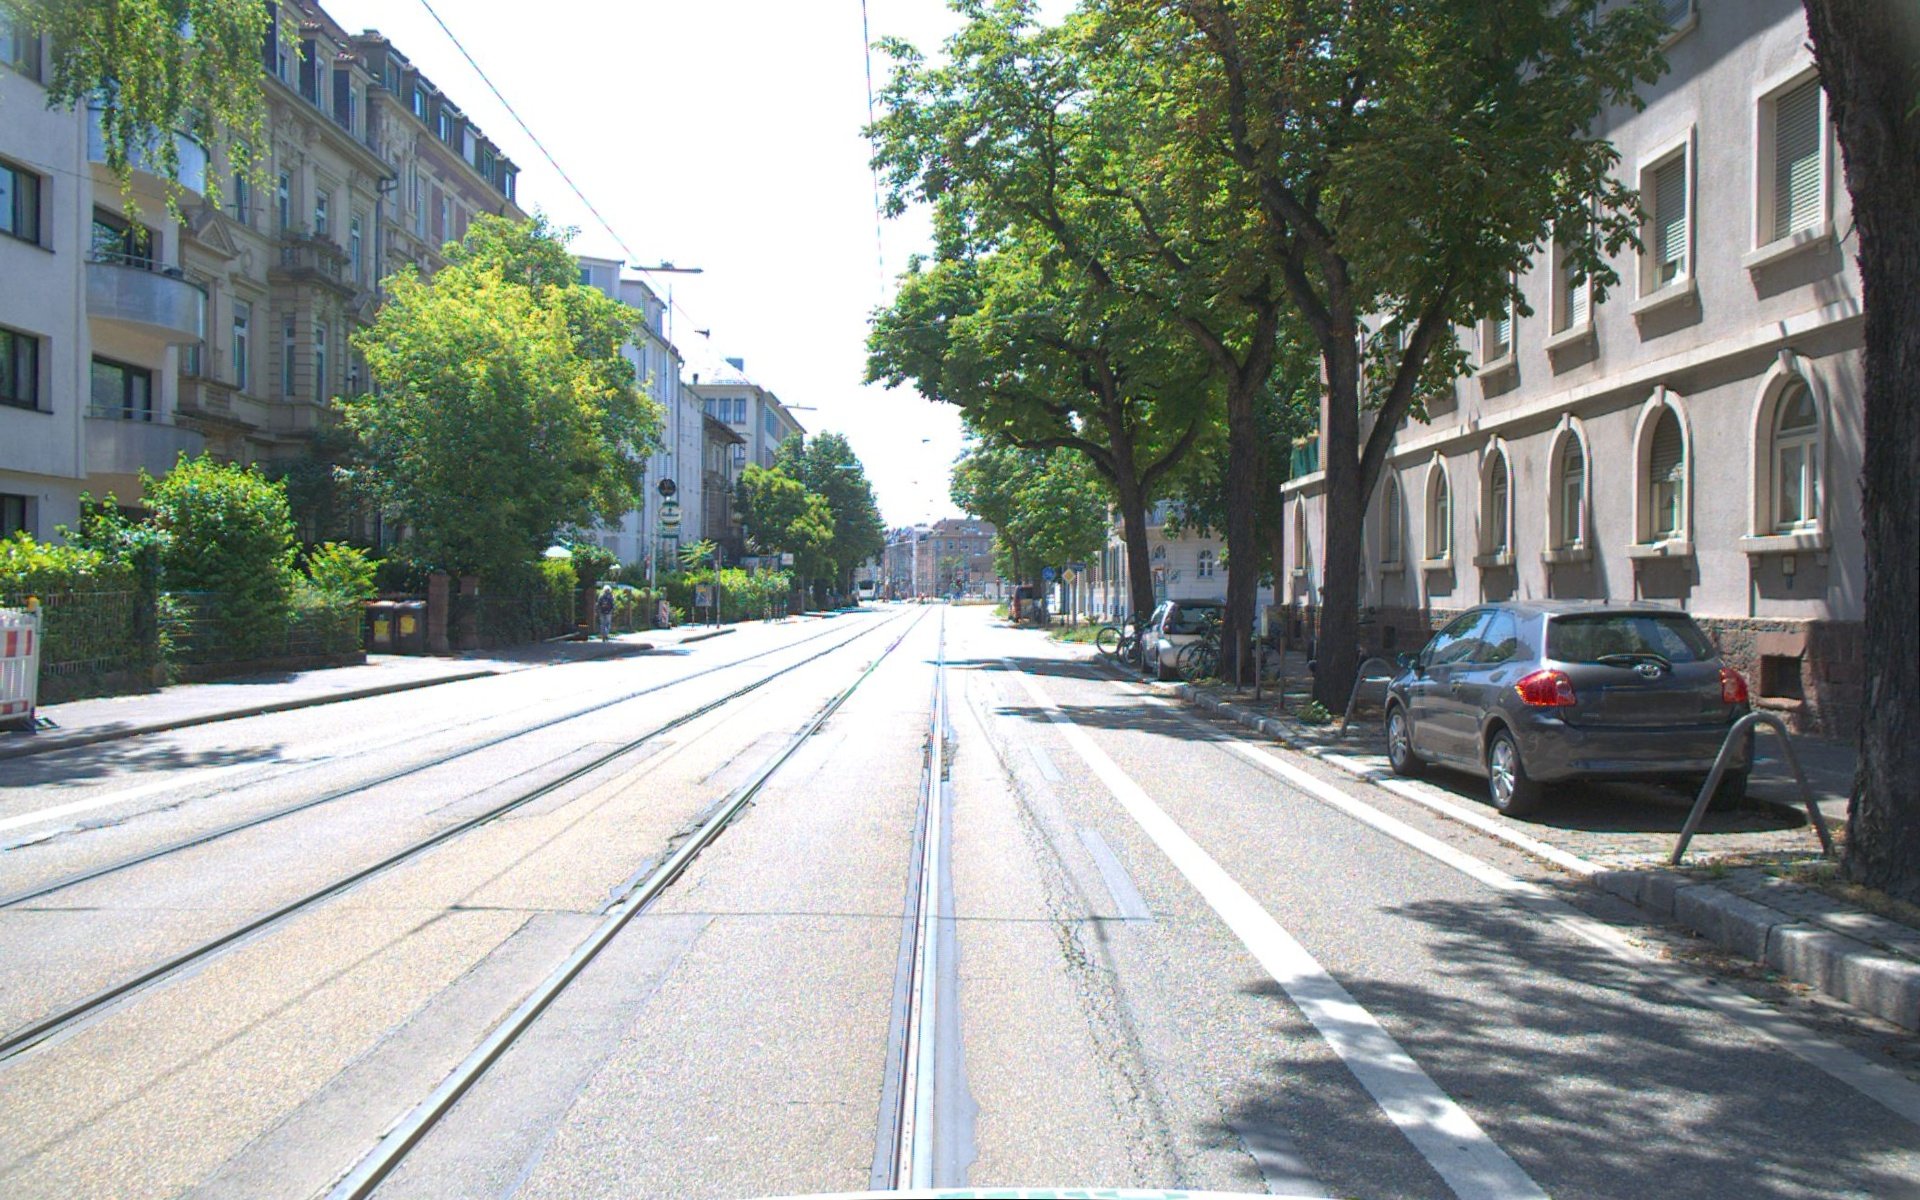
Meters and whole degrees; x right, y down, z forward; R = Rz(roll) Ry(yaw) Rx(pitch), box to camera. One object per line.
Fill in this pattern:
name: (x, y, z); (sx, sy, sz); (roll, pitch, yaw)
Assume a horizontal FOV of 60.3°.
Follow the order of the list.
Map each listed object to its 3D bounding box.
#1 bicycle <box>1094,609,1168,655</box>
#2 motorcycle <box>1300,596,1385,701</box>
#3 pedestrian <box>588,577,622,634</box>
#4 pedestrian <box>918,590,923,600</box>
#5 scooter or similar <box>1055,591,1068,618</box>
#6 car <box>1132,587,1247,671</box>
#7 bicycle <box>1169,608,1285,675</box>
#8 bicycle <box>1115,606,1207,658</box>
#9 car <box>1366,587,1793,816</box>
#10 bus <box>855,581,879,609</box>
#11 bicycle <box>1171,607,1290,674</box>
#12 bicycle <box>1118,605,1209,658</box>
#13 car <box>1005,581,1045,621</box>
bicycle: (4.287, 0.809, 41.477); (1.779, 1.133, 0.493); (0, -1, -2)
motorcycle: (5.102, 0.610, 22.187); (0.975, 1.322, 2.380); (0, 0, 10)
pedestrian: (-10.456, 0.169, 48.754); (0.735, 1.657, 0.833); (1, 0, 3)
pedestrian: (-4.595, -0.582, 192.595); (0.485, 1.193, 0.585); (0, 0, -25)
scooter or similar: (4.804, 0.230, 78.275); (0.491, 1.251, 1.573); (1, 0, -1)
car: (4.346, 0.529, 31.838); (1.589, 1.473, 3.809); (-2, 0, -1)
bicycle: (4.393, 0.676, 27.262); (1.849, 1.070, 0.538); (1, 0, 6)
bicycle: (4.488, 0.712, 37.002); (1.968, 1.133, 0.640); (0, -1, 1)
car: (4.730, 0.669, 13.357); (1.738, 1.527, 4.304); (0, 1, -2)
bus: (-13.905, -0.685, 248.335); (2.871, 4.005, 11.272); (3, 0, -1)
bicycle: (4.510, 0.673, 27.615); (1.921, 1.082, 0.599); (1, 0, 6)
bicycle: (4.466, 0.693, 36.380); (1.922, 1.133, 0.599); (0, -1, 1)
car: (3.528, 0.029, 90.362); (1.952, 2.071, 4.696); (1, 1, -1)
